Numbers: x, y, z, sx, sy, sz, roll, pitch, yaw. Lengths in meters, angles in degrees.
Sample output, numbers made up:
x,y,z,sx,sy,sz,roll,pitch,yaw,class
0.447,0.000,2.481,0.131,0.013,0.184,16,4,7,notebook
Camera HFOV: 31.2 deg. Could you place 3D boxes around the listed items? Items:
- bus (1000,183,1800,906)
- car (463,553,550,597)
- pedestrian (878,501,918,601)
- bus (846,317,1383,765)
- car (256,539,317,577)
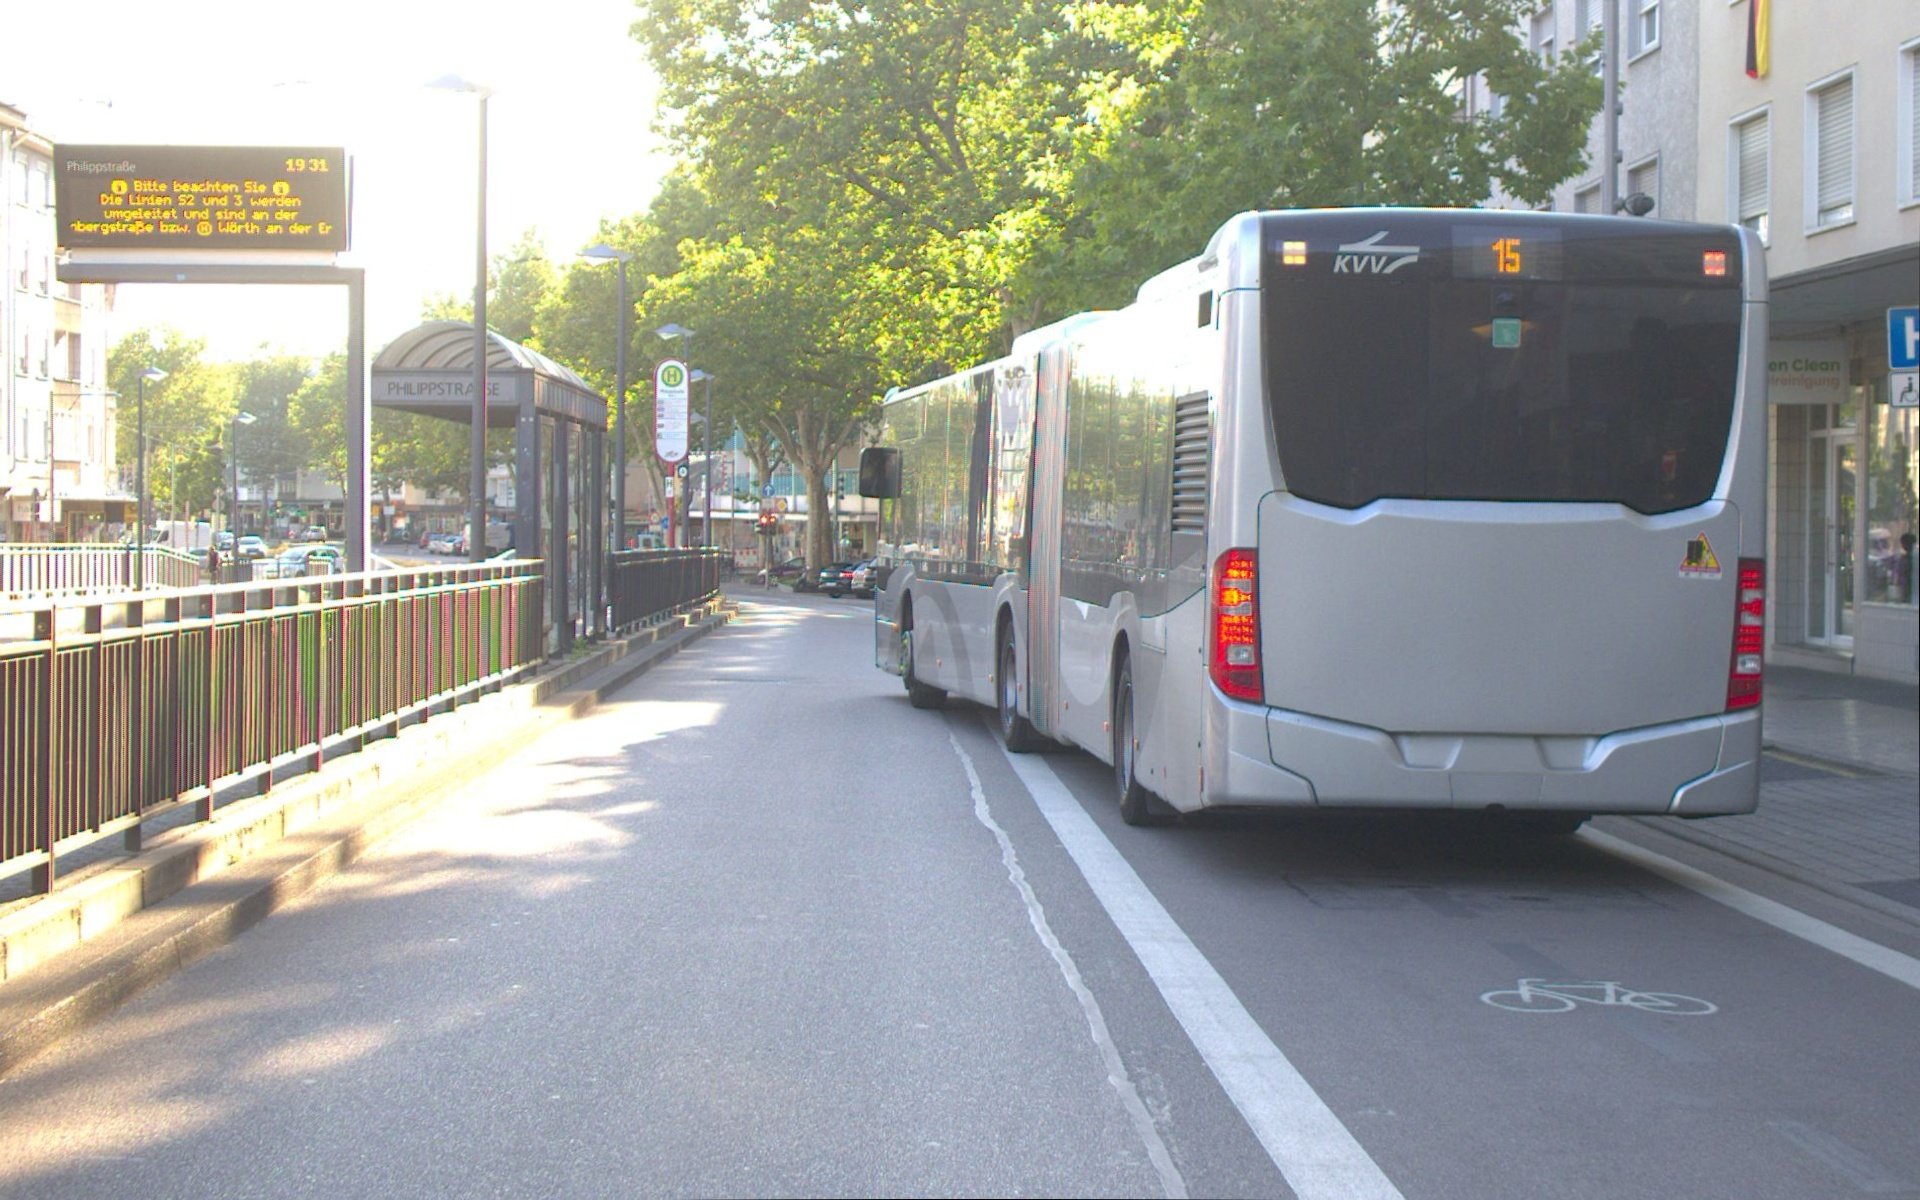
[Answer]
x,y,z,sx,sy,sz,roll,pitch,yaw,class
1.977,-0.335,19.635,2.696,3.107,9.383,1,1,-4,bus
-21.157,-1.178,160.232,3.986,2.007,1.963,0,1,-8,car
-1.573,-1.254,87.519,0.889,2.537,1.163,0,1,6,pedestrian
0.951,-0.506,28.603,2.696,3.107,9.073,1,1,-9,bus
-29.639,-1.866,151.417,1.993,1.645,4.000,0,1,-1,car
